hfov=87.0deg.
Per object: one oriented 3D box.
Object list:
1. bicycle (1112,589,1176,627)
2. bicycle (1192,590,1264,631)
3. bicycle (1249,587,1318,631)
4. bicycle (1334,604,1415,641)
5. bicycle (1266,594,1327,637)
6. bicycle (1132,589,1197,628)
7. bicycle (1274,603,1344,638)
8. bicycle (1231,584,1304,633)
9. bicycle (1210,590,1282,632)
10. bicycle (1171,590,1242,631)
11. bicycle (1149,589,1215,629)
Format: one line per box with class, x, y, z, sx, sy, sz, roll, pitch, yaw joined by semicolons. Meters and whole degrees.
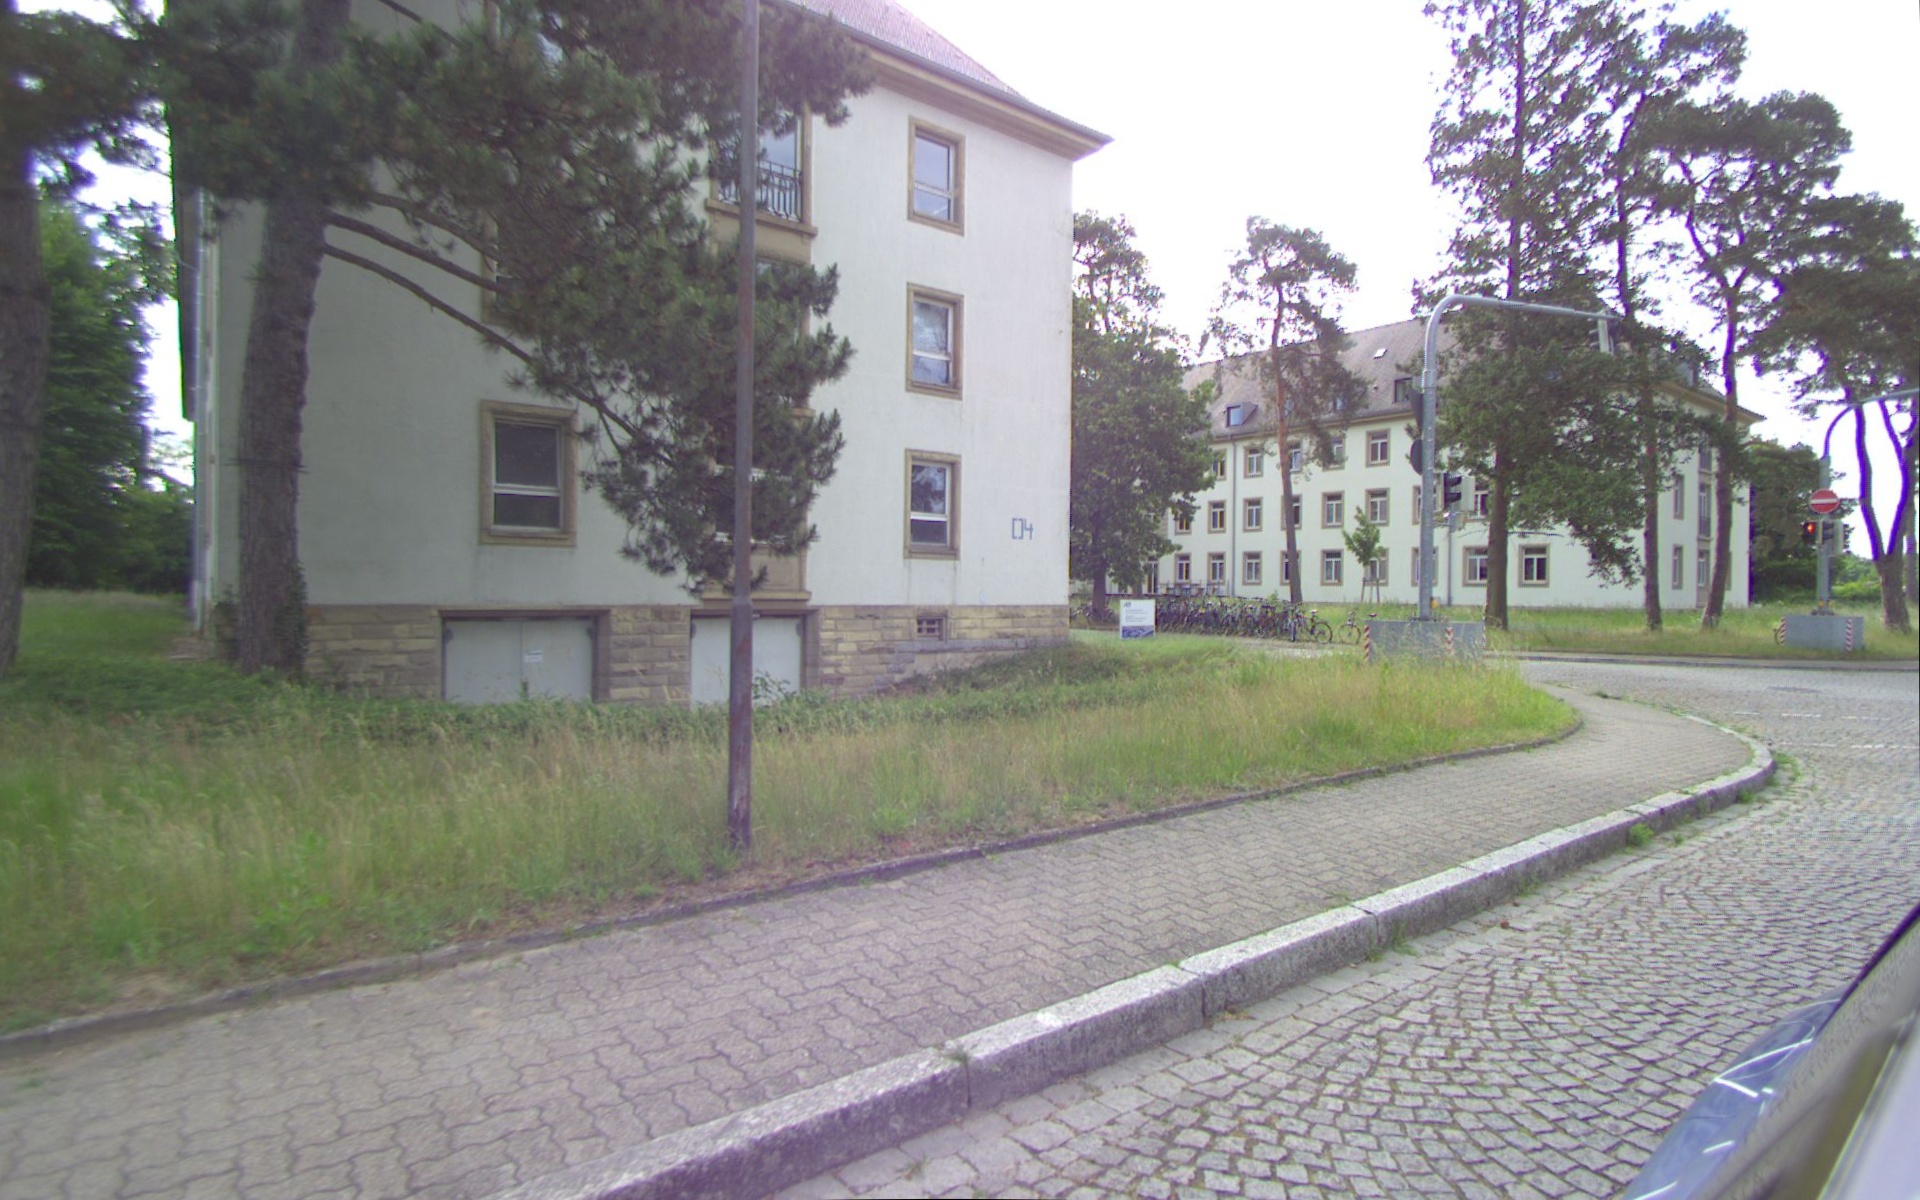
bicycle;6.843;0.289;37.597;2.530;1.389;0.949;0;0;-39
bicycle;9.281;0.351;35.022;2.761;1.389;0.950;0;0;-39
bicycle;10.596;0.297;33.088;2.580;1.384;0.873;0;0;-39
bicycle;11.875;0.623;29.021;0.887;1.009;1.977;0;0;-39
bicycle;10.821;0.475;32.488;2.081;1.323;0.873;0;0;-39
bicycle;7.483;0.298;37.036;2.530;1.389;0.949;0;0;-39
bicycle;10.536;0.607;30.627;0.715;1.009;1.979;1;0;-33
bicycle;10.332;0.270;33.986;2.761;1.603;0.950;0;0;-39
bicycle;9.861;0.363;34.799;2.761;1.389;0.950;0;0;-39
bicycle;8.711;0.344;35.709;2.761;1.389;0.950;0;0;-39
bicycle;8.008;0.305;36.381;2.530;1.389;0.949;0;0;-39
